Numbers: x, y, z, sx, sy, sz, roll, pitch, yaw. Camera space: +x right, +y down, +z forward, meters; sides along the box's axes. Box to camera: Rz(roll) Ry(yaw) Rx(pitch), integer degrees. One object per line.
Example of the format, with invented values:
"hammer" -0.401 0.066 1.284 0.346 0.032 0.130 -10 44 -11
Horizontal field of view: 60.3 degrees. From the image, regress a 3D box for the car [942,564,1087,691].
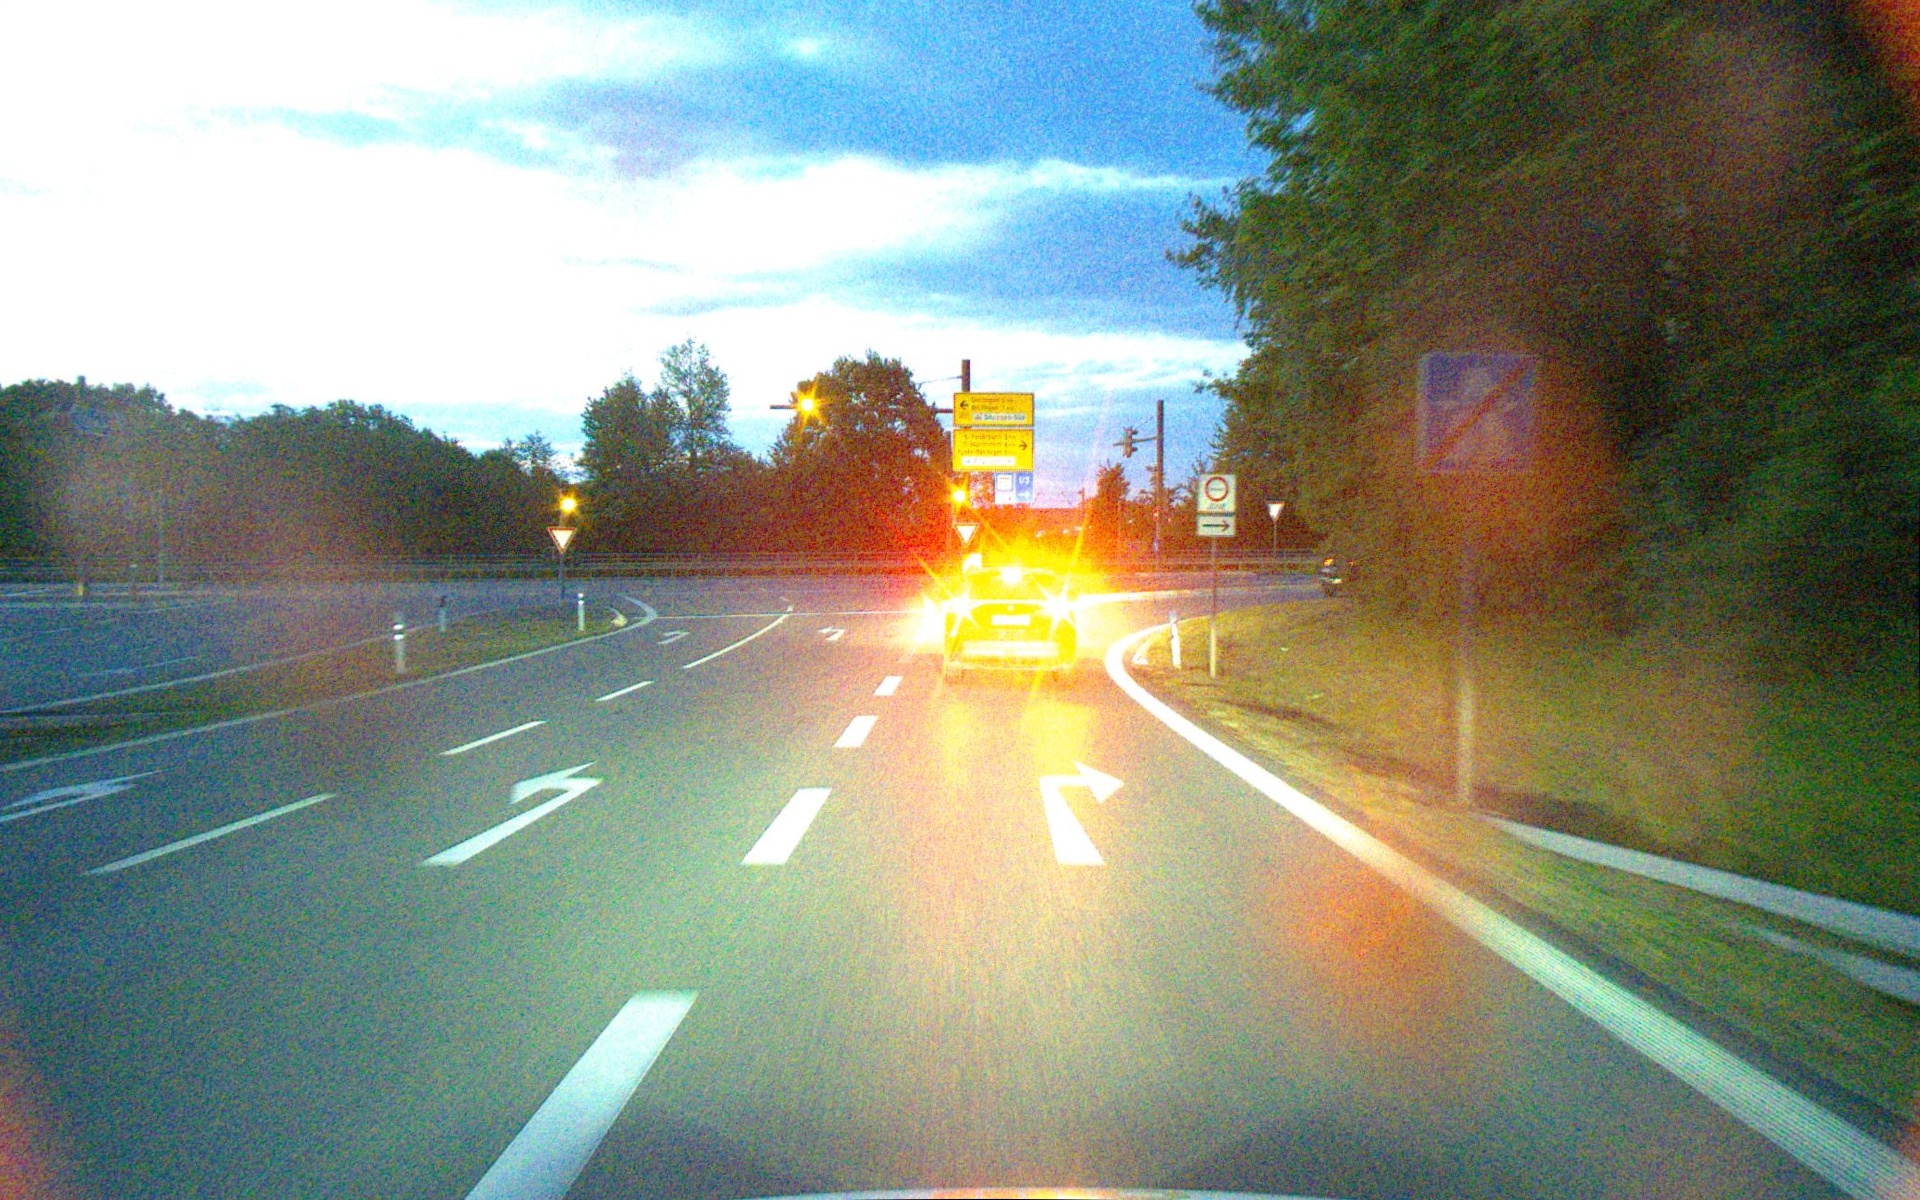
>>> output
"car" 0.701 0.312 24.096 1.862 1.648 4.556 1 1 -1
